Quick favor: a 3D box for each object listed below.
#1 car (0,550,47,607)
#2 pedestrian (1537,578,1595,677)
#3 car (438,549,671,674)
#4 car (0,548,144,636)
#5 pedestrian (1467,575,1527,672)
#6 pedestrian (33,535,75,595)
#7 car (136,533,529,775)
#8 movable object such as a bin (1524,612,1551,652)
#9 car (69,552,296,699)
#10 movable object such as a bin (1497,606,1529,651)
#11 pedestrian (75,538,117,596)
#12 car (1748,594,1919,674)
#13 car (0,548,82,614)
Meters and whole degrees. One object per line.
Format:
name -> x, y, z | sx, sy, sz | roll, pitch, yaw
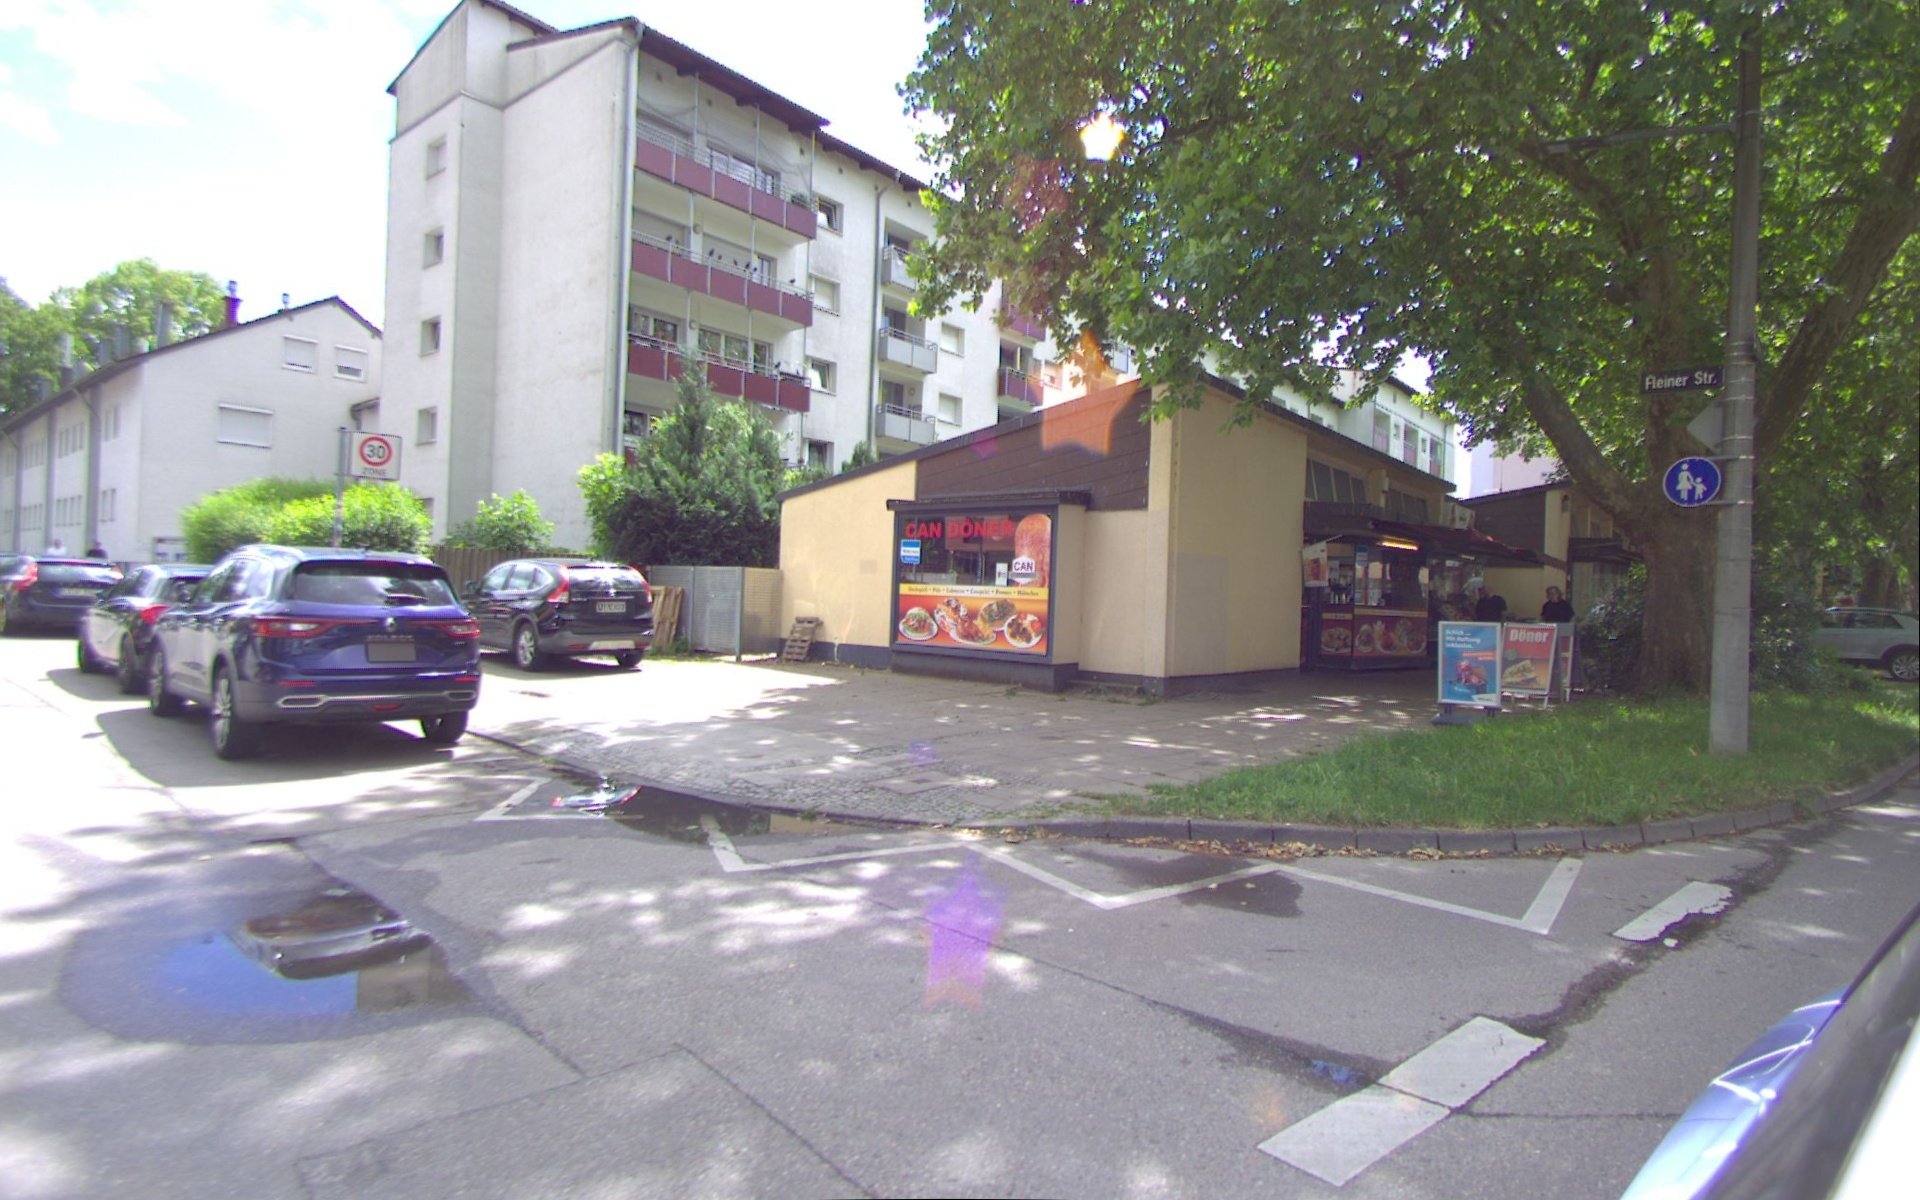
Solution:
car -> -25.898, -0.629, 26.935 | 4.046, 1.426, 1.929 | 3, 1, 41
pedestrian -> 10.801, 0.476, 18.035 | 0.758, 1.697, 0.625 | 1, 1, -40
car -> -6.477, 0.099, 15.960 | 4.091, 1.675, 1.783 | 3, 2, 42
car -> -16.959, -0.200, 18.970 | 4.105, 1.472, 1.848 | 3, 1, 41
pedestrian -> 10.027, 0.422, 18.906 | 0.648, 1.746, 0.760 | 1, 2, -44
pedestrian -> -27.643, -1.055, 30.878 | 0.949, 1.777, 0.827 | 1, 0, 41
car -> -5.921, 0.313, 9.337 | 4.178, 1.703, 1.982 | 4, 1, 42
movable object such as a bin -> 14.040, 0.778, 24.592 | 0.436, 0.925, 0.579 | 3, 2, 40
car -> -9.697, 0.224, 12.507 | 3.986, 1.461, 1.503 | 4, 1, 42
movable object such as a bin -> 13.620, 0.692, 24.922 | 0.518, 1.081, 0.699 | 3, 2, 39
pedestrian -> -26.856, -1.013, 31.458 | 0.949, 1.777, 0.827 | 1, 0, 41
car -> 20.527, 0.758, 23.113 | 3.831, 1.581, 1.594 | 4, 2, 44
car -> -22.144, -0.489, 23.638 | 4.046, 1.426, 1.929 | 3, 1, 41
